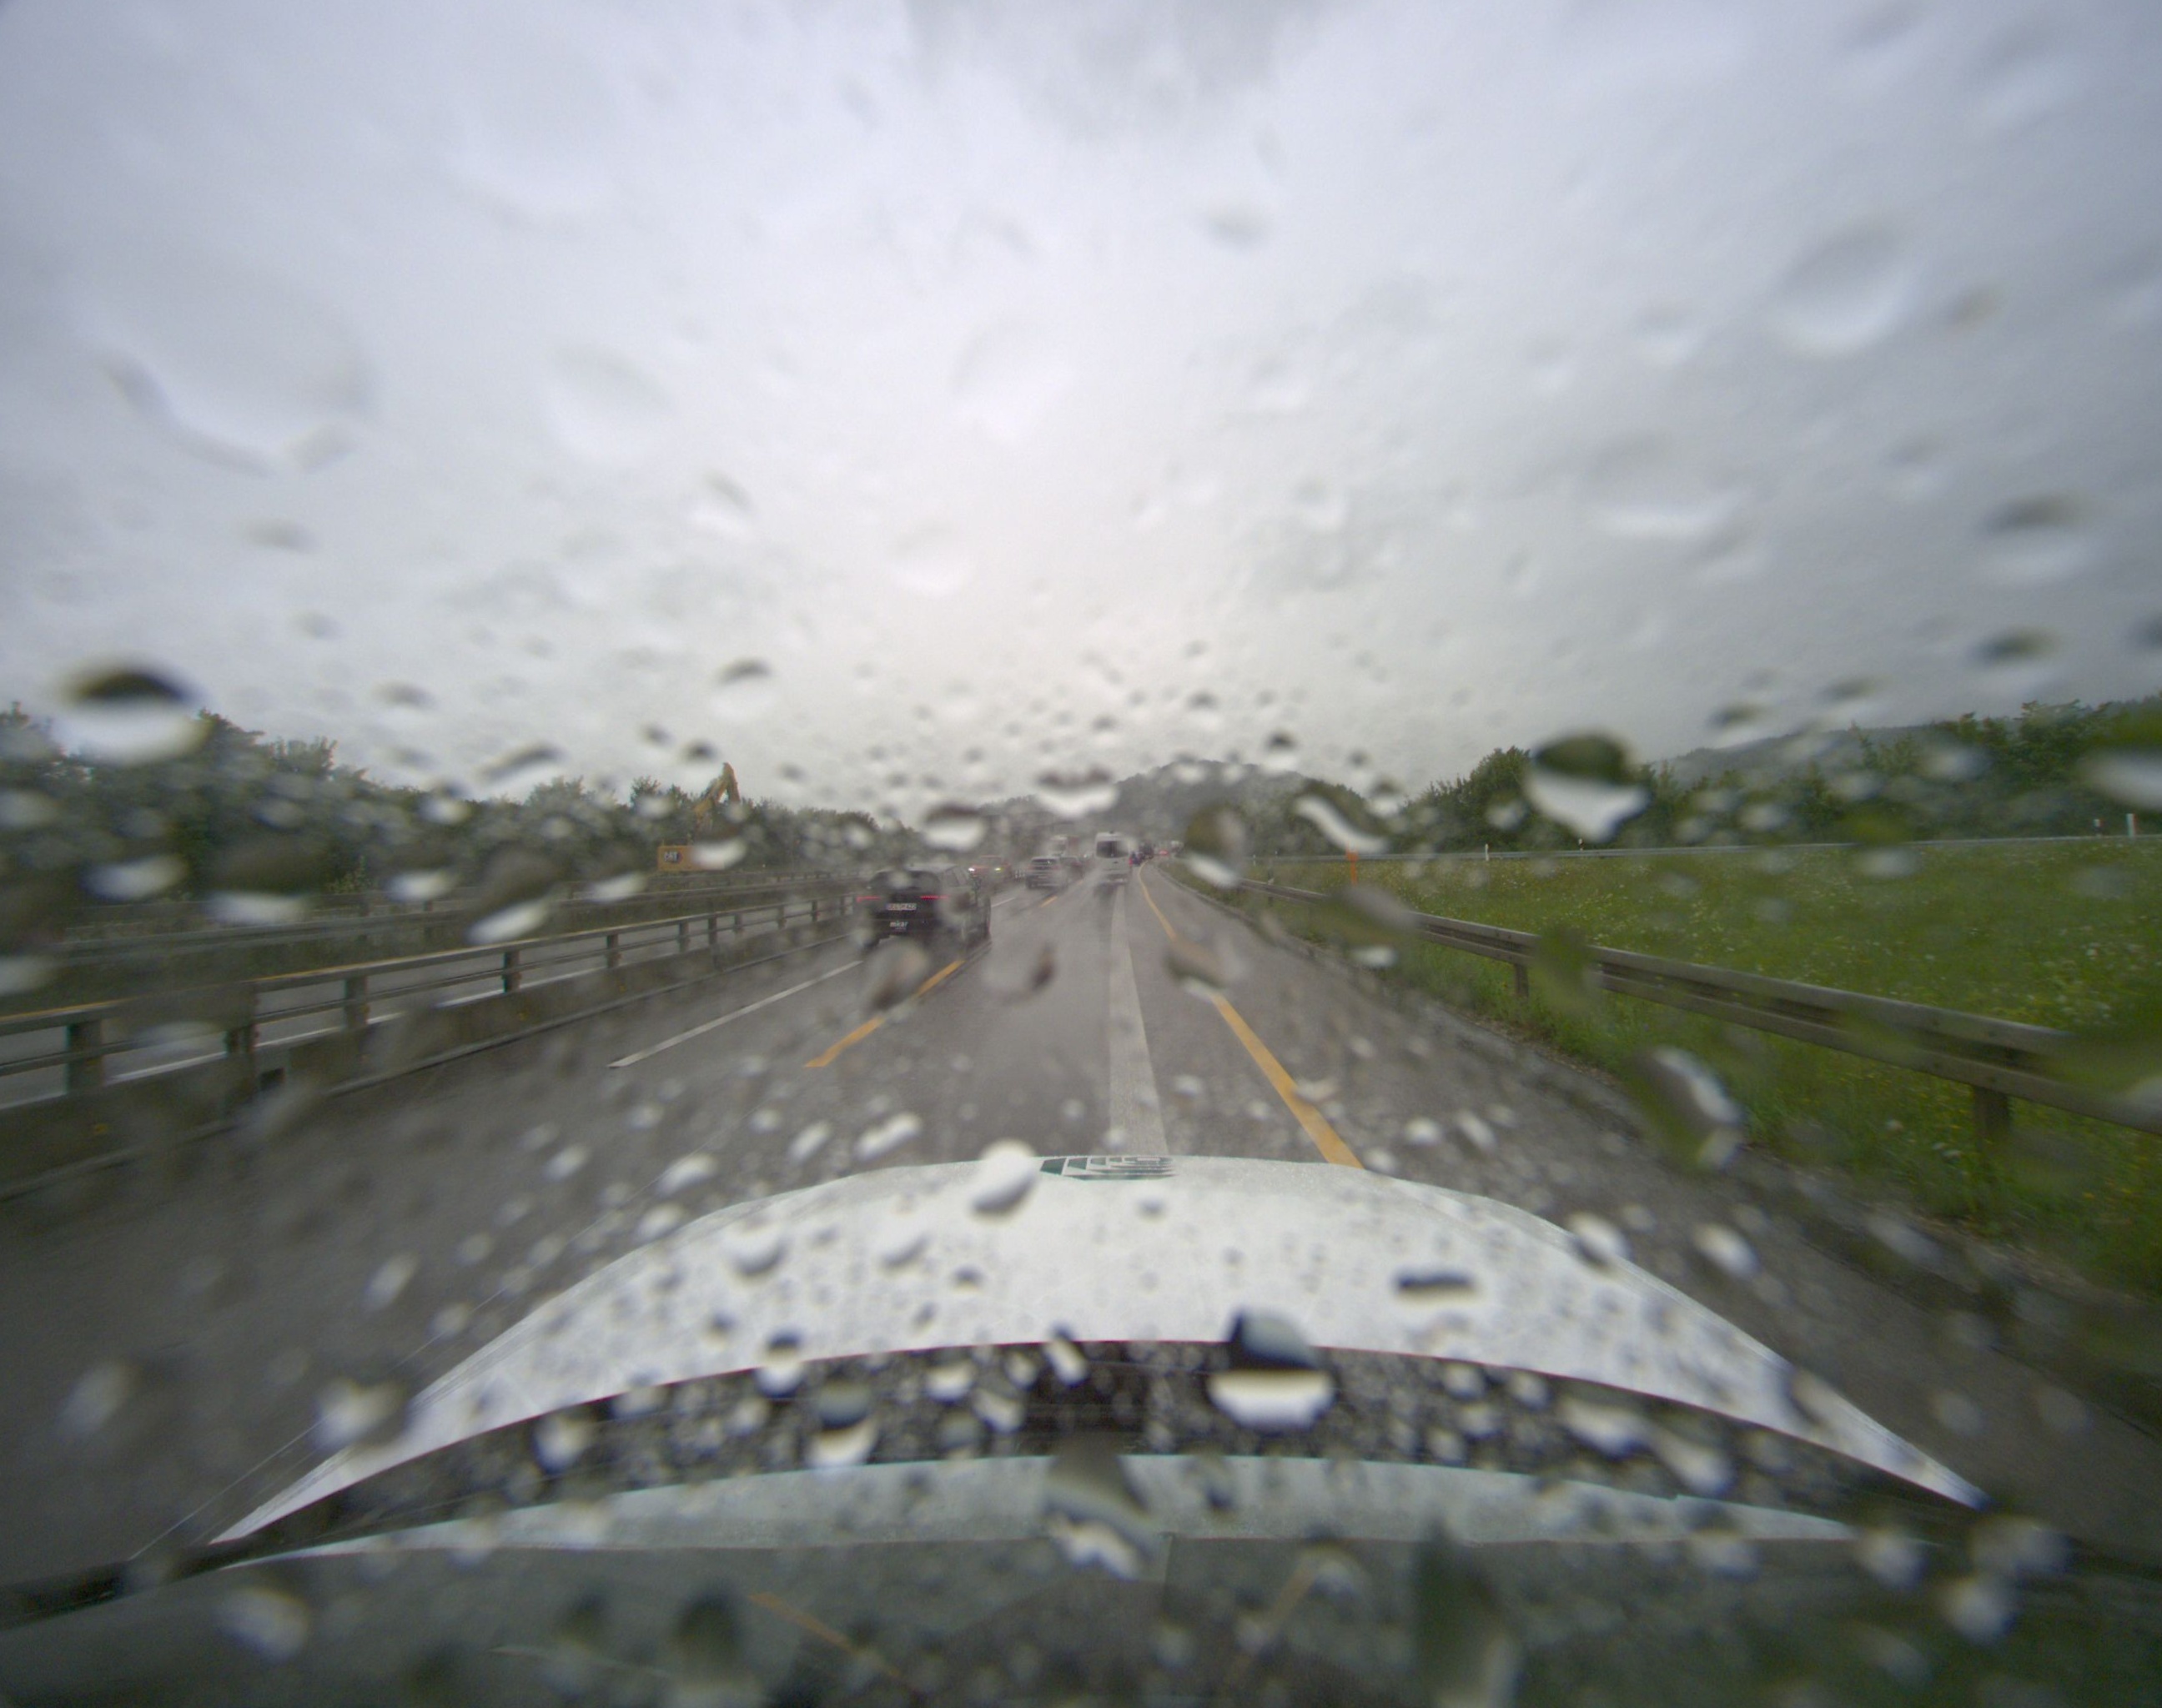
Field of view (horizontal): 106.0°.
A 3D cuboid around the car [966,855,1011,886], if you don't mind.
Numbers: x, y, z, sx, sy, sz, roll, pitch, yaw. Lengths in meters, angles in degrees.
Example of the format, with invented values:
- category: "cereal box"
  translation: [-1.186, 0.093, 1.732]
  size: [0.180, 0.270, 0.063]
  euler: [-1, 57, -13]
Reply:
- category: "car"
  translation: [-4.921, 0.844, 43.815]
  size: [1.795, 1.593, 4.185]
  euler: [0, 0, 2]

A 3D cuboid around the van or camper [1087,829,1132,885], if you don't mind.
- category: "van or camper"
  translation: [1.546, 0.157, 42.032]
  size: [2.130, 2.721, 4.653]
  euler: [-1, 0, 4]

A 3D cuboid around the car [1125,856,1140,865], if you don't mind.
- category: "car"
  translation: [5.985, 0.769, 94.917]
  size: [1.381, 1.078, 3.120]
  euler: [-1, 0, -2]

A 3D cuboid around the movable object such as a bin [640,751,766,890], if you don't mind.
- category: "movable object such as a bin"
  translation: [-23.801, -1.918, 51.955]
  size: [3.579, 8.143, 8.319]
  euler: [0, -1, 5]

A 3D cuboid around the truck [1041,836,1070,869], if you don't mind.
- category: "truck"
  translation: [-3.416, -0.222, 110.891]
  size: [2.994, 4.272, 6.808]
  euler: [-2, 0, 4]

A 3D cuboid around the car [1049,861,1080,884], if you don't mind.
- category: "car"
  translation: [-1.123, 1.290, 57.107]
  size: [1.844, 1.500, 4.003]
  euler: [-1, 0, 3]

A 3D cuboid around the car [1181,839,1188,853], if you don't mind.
- category: "car"
  translation: [31.922, -2.349, 251.168]
  size: [2.047, 4.191, 6.759]
  euler: [-1, 0, 7]

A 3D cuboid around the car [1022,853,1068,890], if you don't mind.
- category: "car"
  translation: [-1.698, 0.807, 39.790]
  size: [1.860, 1.659, 3.990]
  euler: [-1, 0, 2]

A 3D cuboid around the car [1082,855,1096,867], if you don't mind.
- category: "car"
  translation: [0.821, 0.684, 81.198]
  size: [1.258, 1.078, 3.255]
  euler: [-1, 0, 1]

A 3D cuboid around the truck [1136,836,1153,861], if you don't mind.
- category: "truck"
  translation: [12.660, -1.059, 161.160]
  size: [3.305, 4.785, 9.920]
  euler: [0, 0, 5]

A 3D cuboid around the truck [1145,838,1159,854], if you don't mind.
- category: "truck"
  translation: [17.250, -1.852, 198.600]
  size: [3.305, 3.761, 9.920]
  euler: [0, 0, 5]

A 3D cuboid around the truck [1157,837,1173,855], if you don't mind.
- category: "truck"
  translation: [23.539, -2.250, 227.625]
  size: [3.905, 4.785, 9.932]
  euler: [0, 0, 9]

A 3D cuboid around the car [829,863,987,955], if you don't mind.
- category: "car"
  translation: [-3.082, 0.921, 15.581]
  size: [1.932, 1.427, 4.760]
  euler: [-1, 0, 1]
